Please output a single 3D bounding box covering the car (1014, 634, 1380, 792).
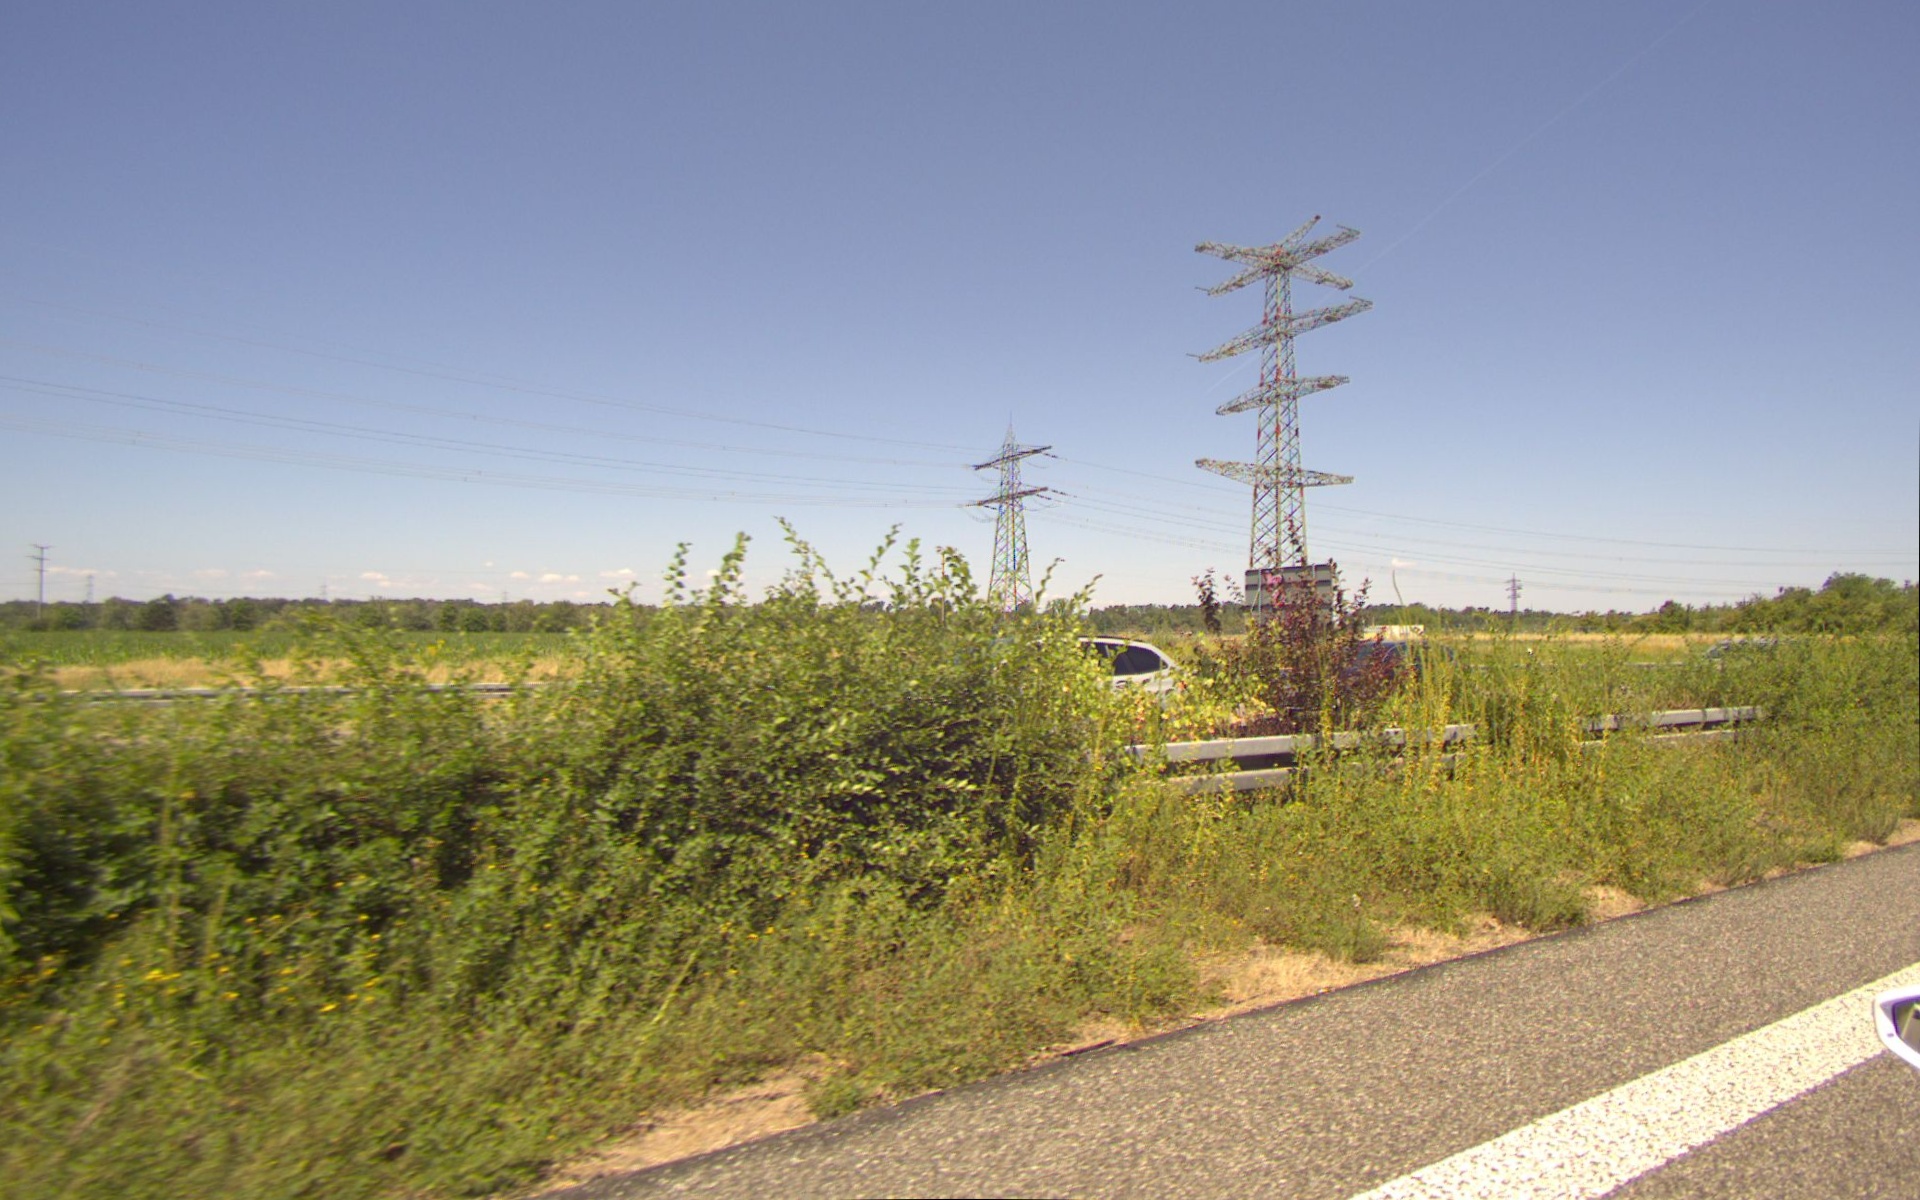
[{"bbox_3d":[3.059,1.278,12.700,4.505,1.676,1.853,1,-2,-30],"label":"car"}]

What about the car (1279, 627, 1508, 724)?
[{"bbox_3d":[8.555,1.402,19.723,4.505,1.676,1.853,1,-1,-30],"label":"car"}]
